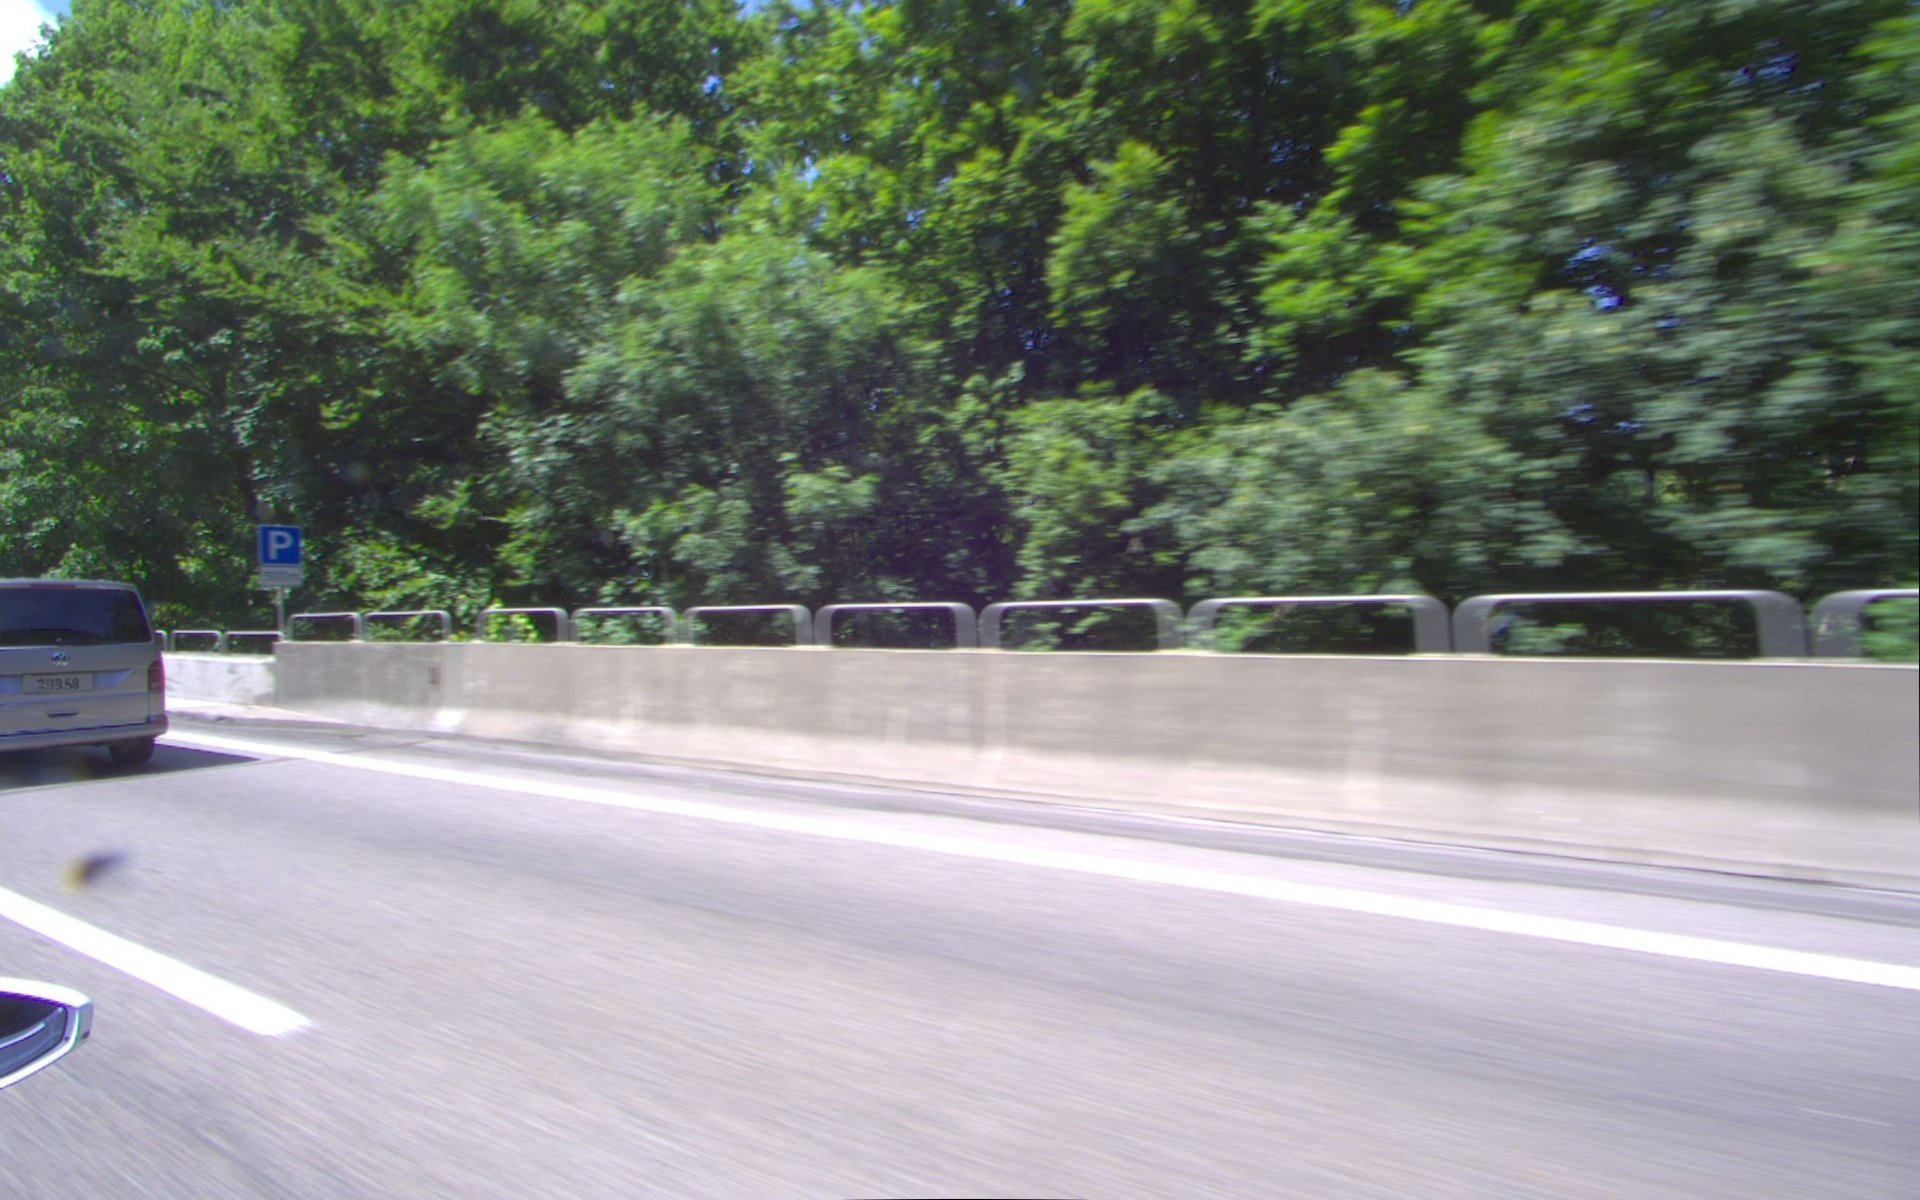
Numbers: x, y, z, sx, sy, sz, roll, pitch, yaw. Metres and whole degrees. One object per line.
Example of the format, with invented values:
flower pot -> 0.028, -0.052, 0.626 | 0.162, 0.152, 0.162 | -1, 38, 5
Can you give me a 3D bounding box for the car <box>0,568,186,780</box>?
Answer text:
car -> -10.558, 0.738, 10.923 | 4.628, 1.956, 1.937 | -1, -1, 33
